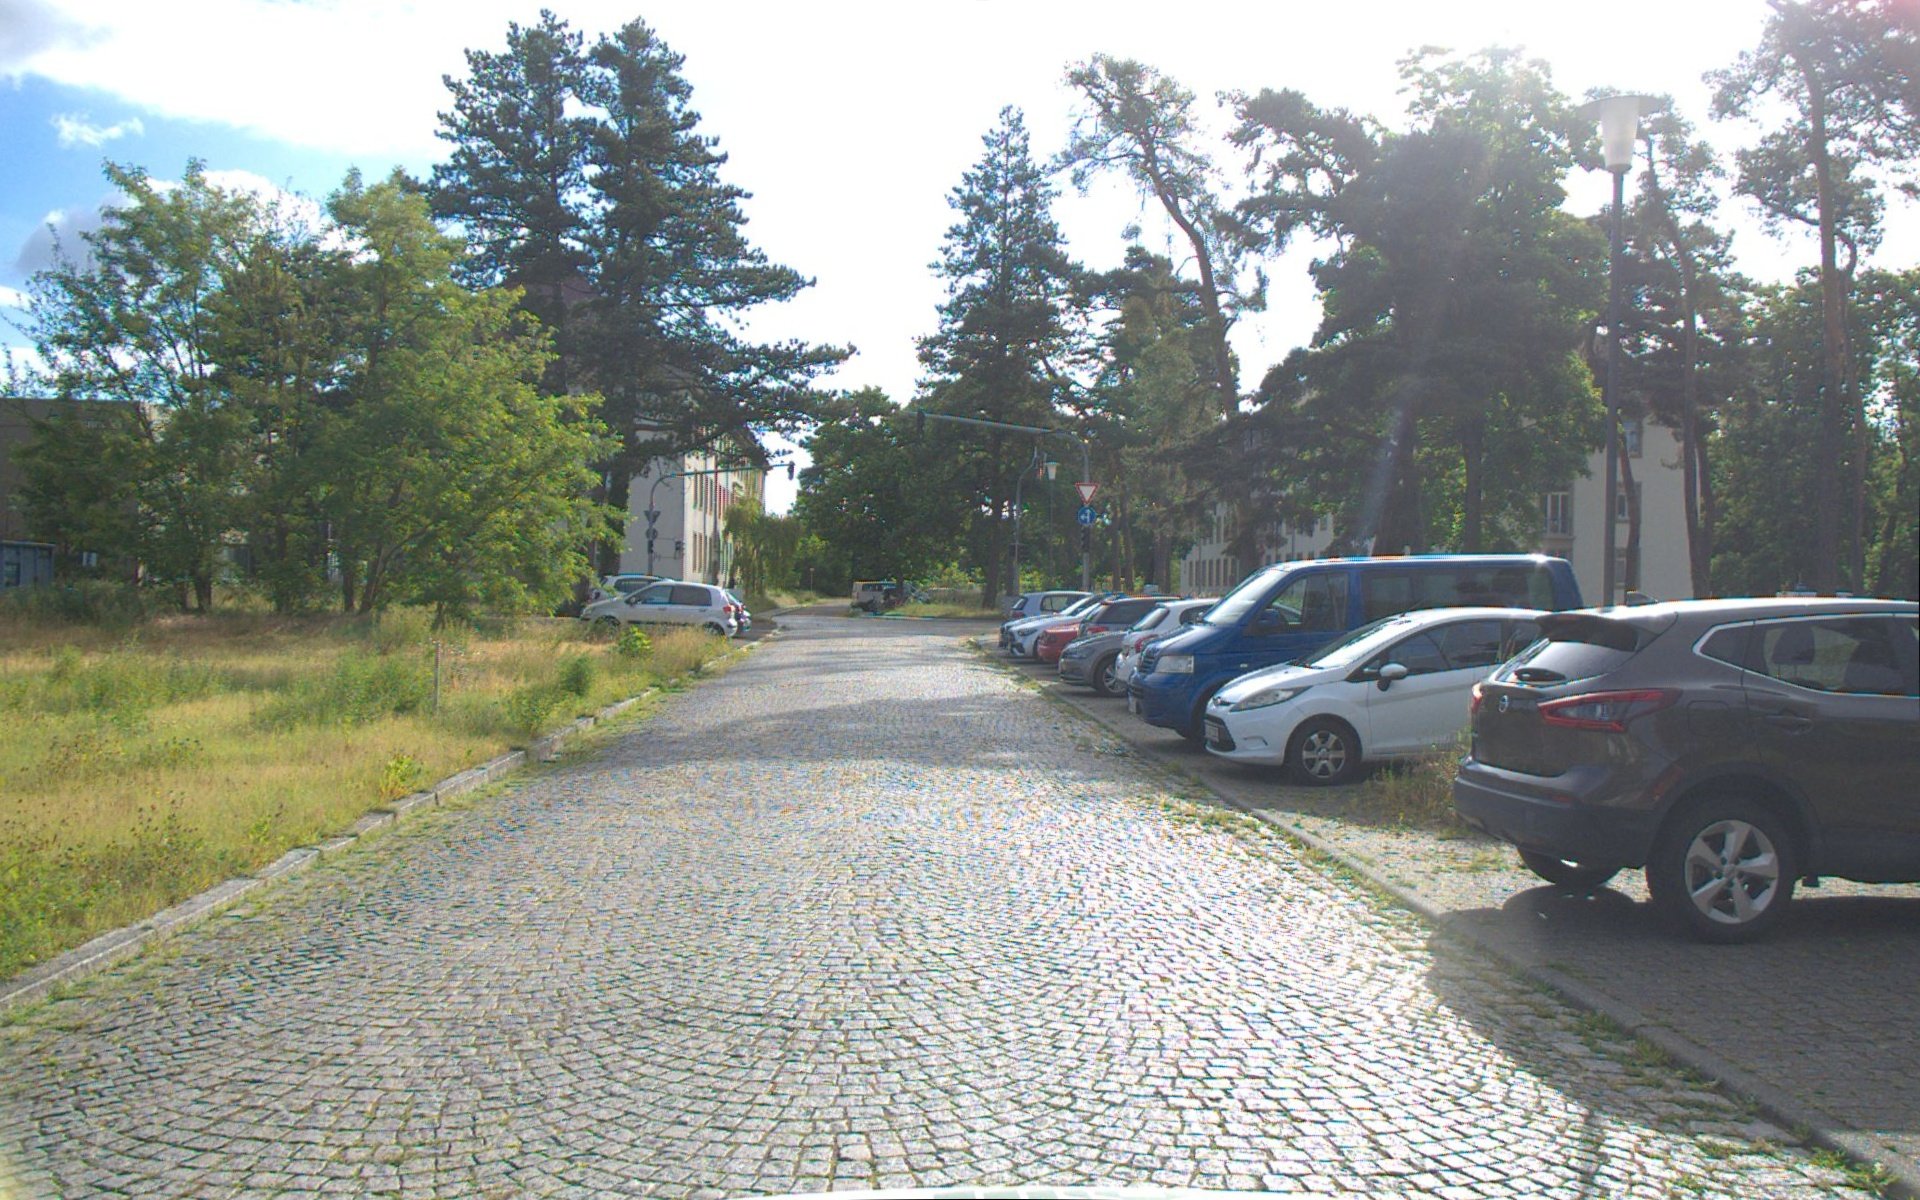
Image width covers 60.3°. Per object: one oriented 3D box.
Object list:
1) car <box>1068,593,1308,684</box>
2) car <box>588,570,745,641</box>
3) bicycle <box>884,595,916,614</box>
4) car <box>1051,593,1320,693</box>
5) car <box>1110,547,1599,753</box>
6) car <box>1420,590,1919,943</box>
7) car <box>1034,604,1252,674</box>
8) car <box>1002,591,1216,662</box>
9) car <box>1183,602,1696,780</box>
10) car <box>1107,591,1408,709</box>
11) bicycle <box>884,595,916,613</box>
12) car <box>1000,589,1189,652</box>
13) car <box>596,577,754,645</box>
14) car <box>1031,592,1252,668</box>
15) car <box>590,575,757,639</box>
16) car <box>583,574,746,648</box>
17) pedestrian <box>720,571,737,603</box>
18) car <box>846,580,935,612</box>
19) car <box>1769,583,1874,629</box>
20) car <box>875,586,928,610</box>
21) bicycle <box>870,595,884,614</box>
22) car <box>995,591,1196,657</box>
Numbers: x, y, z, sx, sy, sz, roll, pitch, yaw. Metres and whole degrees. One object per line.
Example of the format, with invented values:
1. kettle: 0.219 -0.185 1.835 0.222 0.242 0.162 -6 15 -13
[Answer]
1. car: 3.894 0.644 28.656 3.872 1.521 1.771 0 0 -3
2. car: -7.947 0.156 45.058 4.045 1.627 1.855 4 -1 -8
3. bicycle: -3.323 0.231 92.052 1.758 1.016 0.643 0 1 -5
4. car: 3.439 0.643 25.699 3.872 1.493 1.829 0 0 -3
5. car: 4.057 0.490 17.525 4.640 1.962 1.990 -1 0 -5
6. car: 4.741 0.770 8.681 4.108 1.616 1.876 0 0 -5
7. car: 3.406 0.724 31.267 3.872 1.283 1.725 0 0 -3
8. car: 3.186 0.565 35.907 4.417 1.499 1.848 0 0 -4
9. car: 4.256 0.769 15.015 4.111 1.495 1.805 0 0 -7
10. car: 4.042 0.668 22.877 3.797 1.557 1.806 0 0 -3
11. bicycle: -3.385 0.235 93.070 1.758 1.016 0.643 0 1 -5
12. car: 3.320 0.496 41.328 4.455 1.531 1.931 0 0 -6
13. car: -7.252 0.275 42.405 3.754 1.454 1.857 4 -1 -5
14. car: 3.651 0.594 33.664 4.255 1.499 1.738 0 0 -4
15. car: -8.186 0.199 47.588 4.499 1.480 1.901 4 1 -6
16. car: -7.058 0.270 39.759 3.612 1.499 1.847 4 -1 -5
17. pedestrian: -14.501 -0.811 103.688 0.966 1.998 0.932 1 -1 -4
18. car: -4.565 -0.252 107.929 5.414 1.949 2.243 1 0 -18
19. car: 50.776 0.358 97.580 5.055 2.580 2.263 1 0 -2
20. car: -3.700 -0.120 104.415 2.983 1.491 1.712 1 -1 -16
21. bicycle: -4.451 0.235 88.382 0.713 1.016 1.798 0 1 -3
22. car: 3.131 0.550 38.686 4.421 1.499 1.892 0 0 -8
